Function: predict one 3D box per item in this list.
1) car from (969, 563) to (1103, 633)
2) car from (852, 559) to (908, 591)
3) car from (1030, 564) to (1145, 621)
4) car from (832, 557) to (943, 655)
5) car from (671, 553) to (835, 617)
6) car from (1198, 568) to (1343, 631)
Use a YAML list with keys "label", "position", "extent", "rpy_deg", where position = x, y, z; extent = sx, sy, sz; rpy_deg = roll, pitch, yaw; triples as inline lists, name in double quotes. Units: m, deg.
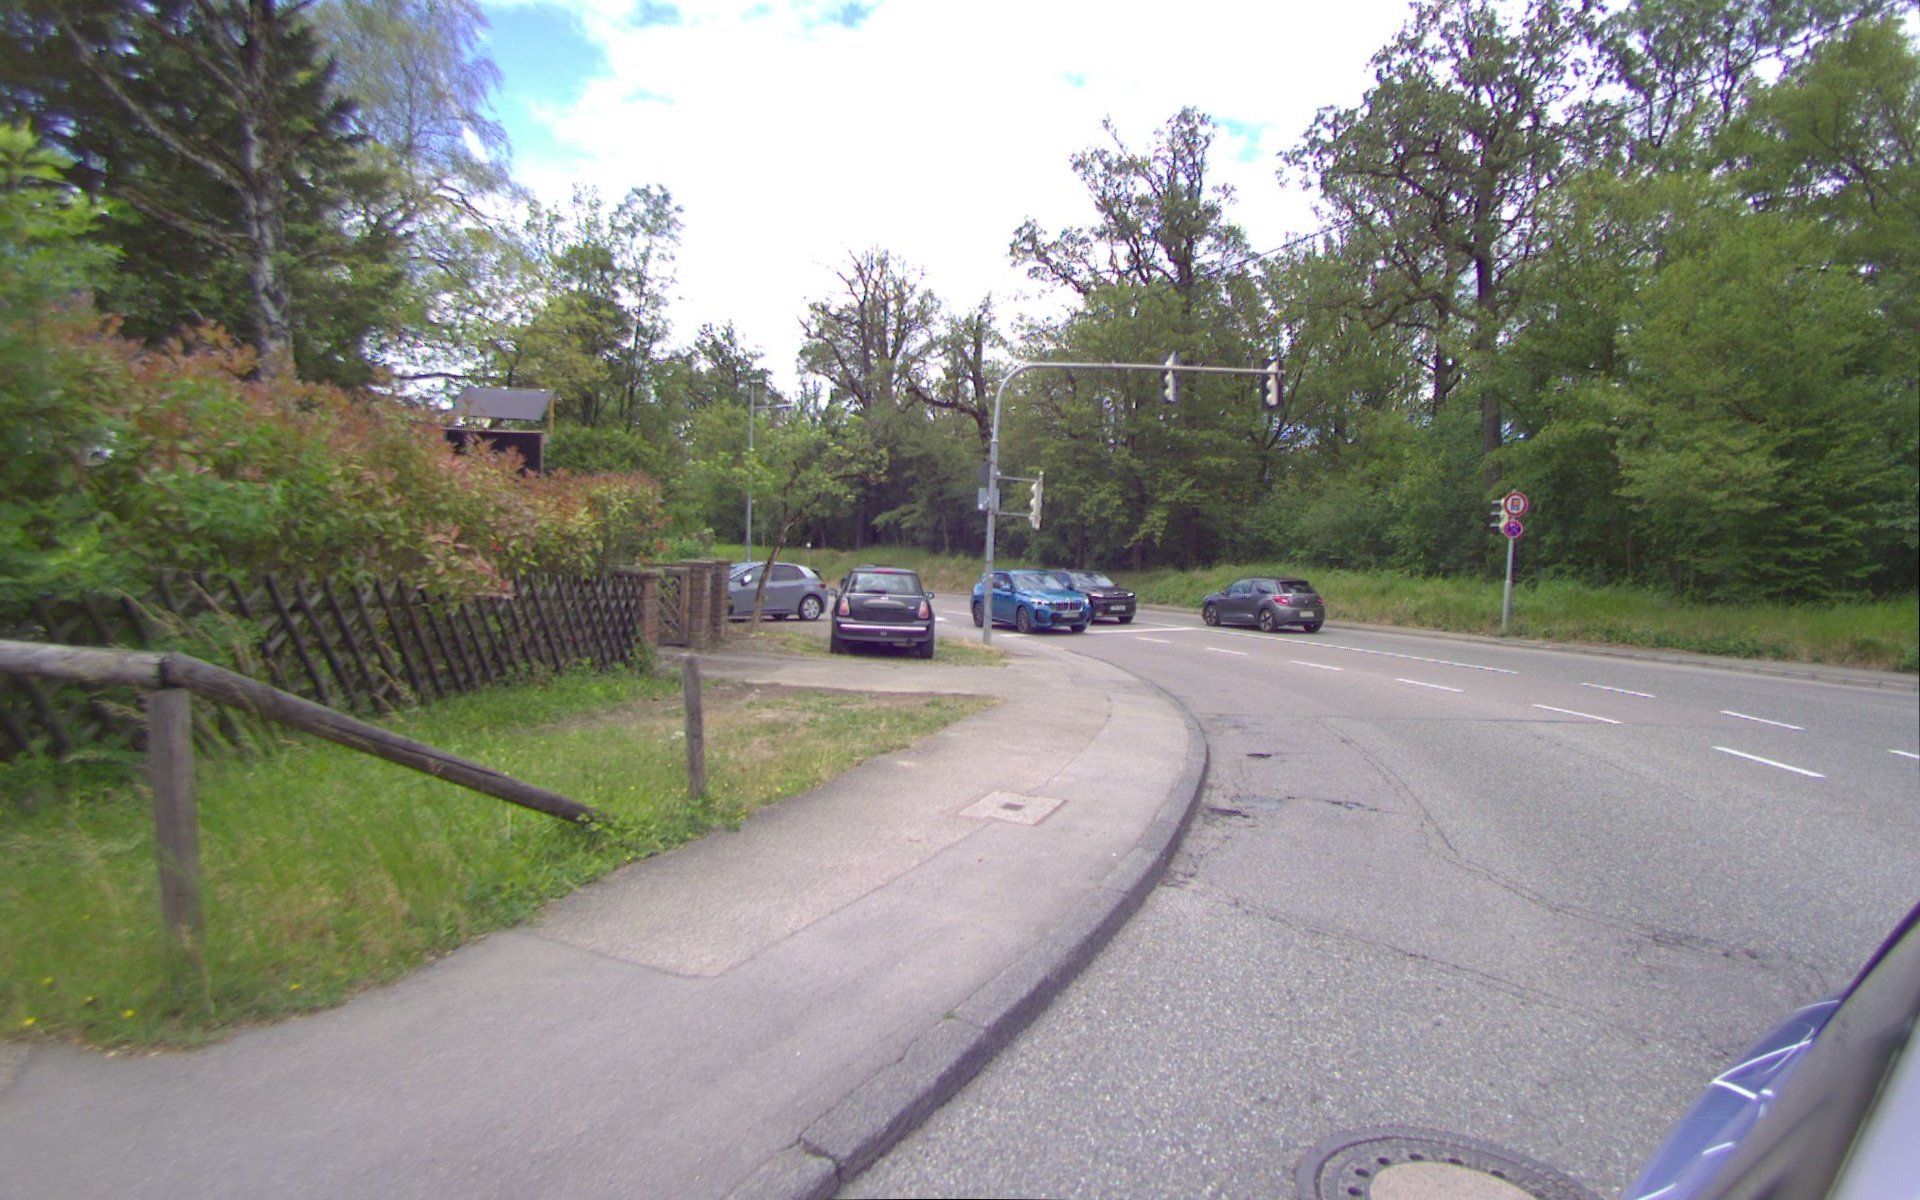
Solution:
- label: "car"
  position: [1.958, -0.135, 27.163]
  extent: [1.876, 1.596, 4.009]
  rpy_deg: [-2, 4, -25]
- label: "car"
  position: [-4.076, -1.283, 50.794]
  extent: [1.669, 1.463, 4.010]
  rpy_deg: [0, 3, -22]
- label: "car"
  position: [3.772, -0.280, 30.542]
  extent: [1.702, 1.525, 4.010]
  rpy_deg: [-1, 3, -22]
- label: "car"
  position: [-1.301, 0.020, 17.216]
  extent: [1.623, 1.407, 3.611]
  rpy_deg: [3, 2, -6]
- label: "car"
  position: [-5.352, -0.381, 26.449]
  extent: [3.931, 1.544, 1.659]
  rpy_deg: [0, 0, -42]
- label: "car"
  position: [8.468, -0.075, 27.927]
  extent: [1.785, 1.528, 3.817]
  rpy_deg: [-1, 3, -22]
